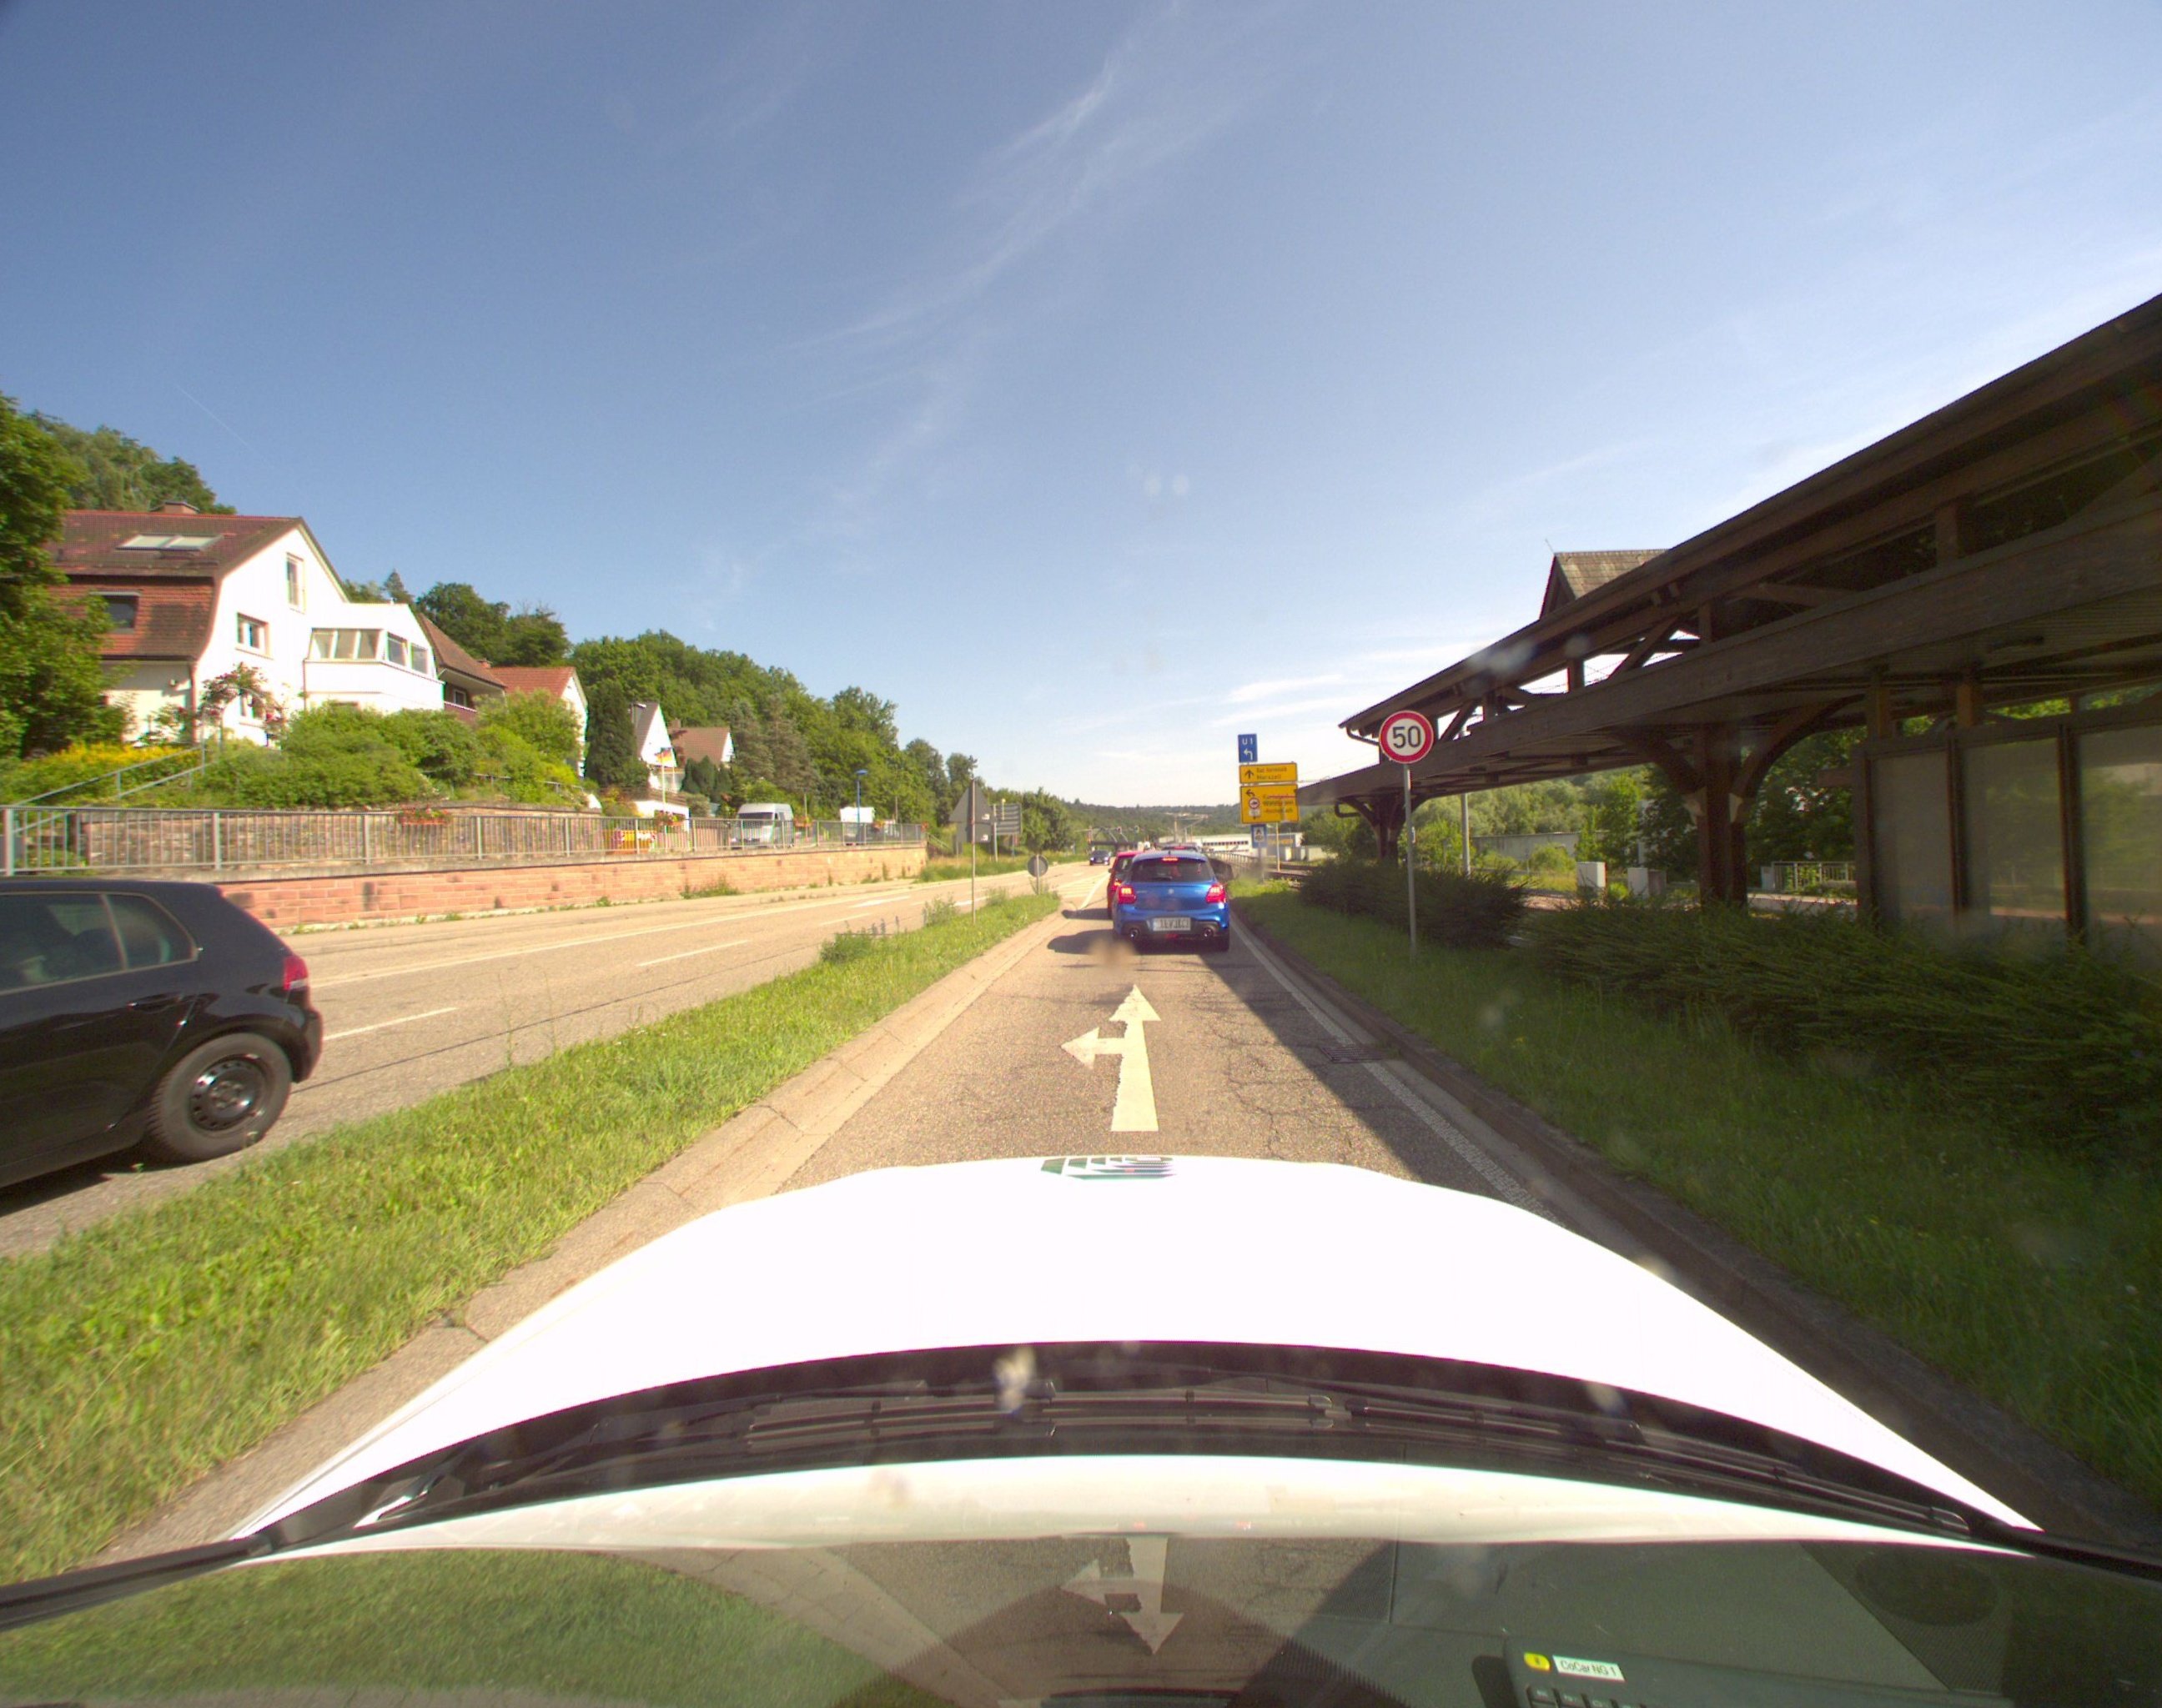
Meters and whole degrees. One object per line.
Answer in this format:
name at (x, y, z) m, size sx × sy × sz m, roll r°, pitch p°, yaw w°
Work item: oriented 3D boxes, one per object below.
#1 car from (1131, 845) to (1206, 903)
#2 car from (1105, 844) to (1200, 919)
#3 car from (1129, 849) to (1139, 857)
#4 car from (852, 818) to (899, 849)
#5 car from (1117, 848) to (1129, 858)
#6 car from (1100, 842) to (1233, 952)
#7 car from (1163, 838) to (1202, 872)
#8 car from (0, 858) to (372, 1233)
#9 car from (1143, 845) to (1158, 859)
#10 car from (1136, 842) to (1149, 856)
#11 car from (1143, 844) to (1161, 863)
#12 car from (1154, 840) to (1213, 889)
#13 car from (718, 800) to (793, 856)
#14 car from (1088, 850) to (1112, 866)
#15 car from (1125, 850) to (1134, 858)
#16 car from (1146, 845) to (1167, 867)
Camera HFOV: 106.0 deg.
car at (2.623, 0.521, 24.388) m, size 1.983 × 1.531 × 4.609 m, roll -2°, pitch 0°, yaw 6°
car at (1.719, 0.568, 19.164) m, size 1.983 × 1.571 × 4.007 m, roll 0°, pitch 0°, yaw 6°
car at (10.969, -0.253, 168.433) m, size 1.985 × 1.591 × 4.004 m, roll 0°, pitch 0°, yaw 4°
car at (-13.423, -1.328, 53.399) m, size 2.015 × 1.920 × 4.728 m, roll 1°, pitch 1°, yaw -2°
car at (7.640, -0.145, 146.806) m, size 1.984 × 1.783 × 4.005 m, roll 0°, pitch 0°, yaw 4°
car at (1.338, 0.595, 13.500) m, size 1.860 × 1.548 × 4.004 m, roll -1°, pitch 0°, yaw 4°
car at (5.468, 0.021, 44.288) m, size 1.983 × 1.736 × 4.007 m, roll 1°, pitch 1°, yaw 6°
car at (-5.169, 0.792, 2.848) m, size 1.739 × 1.462 × 4.044 m, roll -2°, pitch 0°, yaw 1°
car at (9.702, -0.301, 114.047) m, size 1.984 × 1.816 × 4.005 m, roll 1°, pitch 1°, yaw 4°
car at (9.738, -0.785, 128.101) m, size 1.984 × 2.144 × 4.725 m, roll 0°, pitch 0°, yaw 4°
car at (7.939, -0.083, 91.091) m, size 1.984 × 2.013 × 4.005 m, roll 1°, pitch 1°, yaw 4°
car at (3.774, 0.343, 30.415) m, size 1.983 × 1.686 × 4.505 m, roll 1°, pitch 1°, yaw 6°
car at (-15.299, -1.198, 38.633) m, size 2.093 × 2.444 × 5.767 m, roll 0°, pitch 1°, yaw -9°
car at (1.830, 0.375, 78.430) m, size 1.782 × 1.470 × 4.726 m, roll -1°, pitch 0°, yaw 7°
car at (11.621, -0.037, 196.308) m, size 1.986 × 2.013 × 4.001 m, roll 0°, pitch 0°, yaw 1°
car at (7.305, 0.160, 79.033) m, size 1.984 × 2.013 × 4.005 m, roll 1°, pitch 1°, yaw 4°
